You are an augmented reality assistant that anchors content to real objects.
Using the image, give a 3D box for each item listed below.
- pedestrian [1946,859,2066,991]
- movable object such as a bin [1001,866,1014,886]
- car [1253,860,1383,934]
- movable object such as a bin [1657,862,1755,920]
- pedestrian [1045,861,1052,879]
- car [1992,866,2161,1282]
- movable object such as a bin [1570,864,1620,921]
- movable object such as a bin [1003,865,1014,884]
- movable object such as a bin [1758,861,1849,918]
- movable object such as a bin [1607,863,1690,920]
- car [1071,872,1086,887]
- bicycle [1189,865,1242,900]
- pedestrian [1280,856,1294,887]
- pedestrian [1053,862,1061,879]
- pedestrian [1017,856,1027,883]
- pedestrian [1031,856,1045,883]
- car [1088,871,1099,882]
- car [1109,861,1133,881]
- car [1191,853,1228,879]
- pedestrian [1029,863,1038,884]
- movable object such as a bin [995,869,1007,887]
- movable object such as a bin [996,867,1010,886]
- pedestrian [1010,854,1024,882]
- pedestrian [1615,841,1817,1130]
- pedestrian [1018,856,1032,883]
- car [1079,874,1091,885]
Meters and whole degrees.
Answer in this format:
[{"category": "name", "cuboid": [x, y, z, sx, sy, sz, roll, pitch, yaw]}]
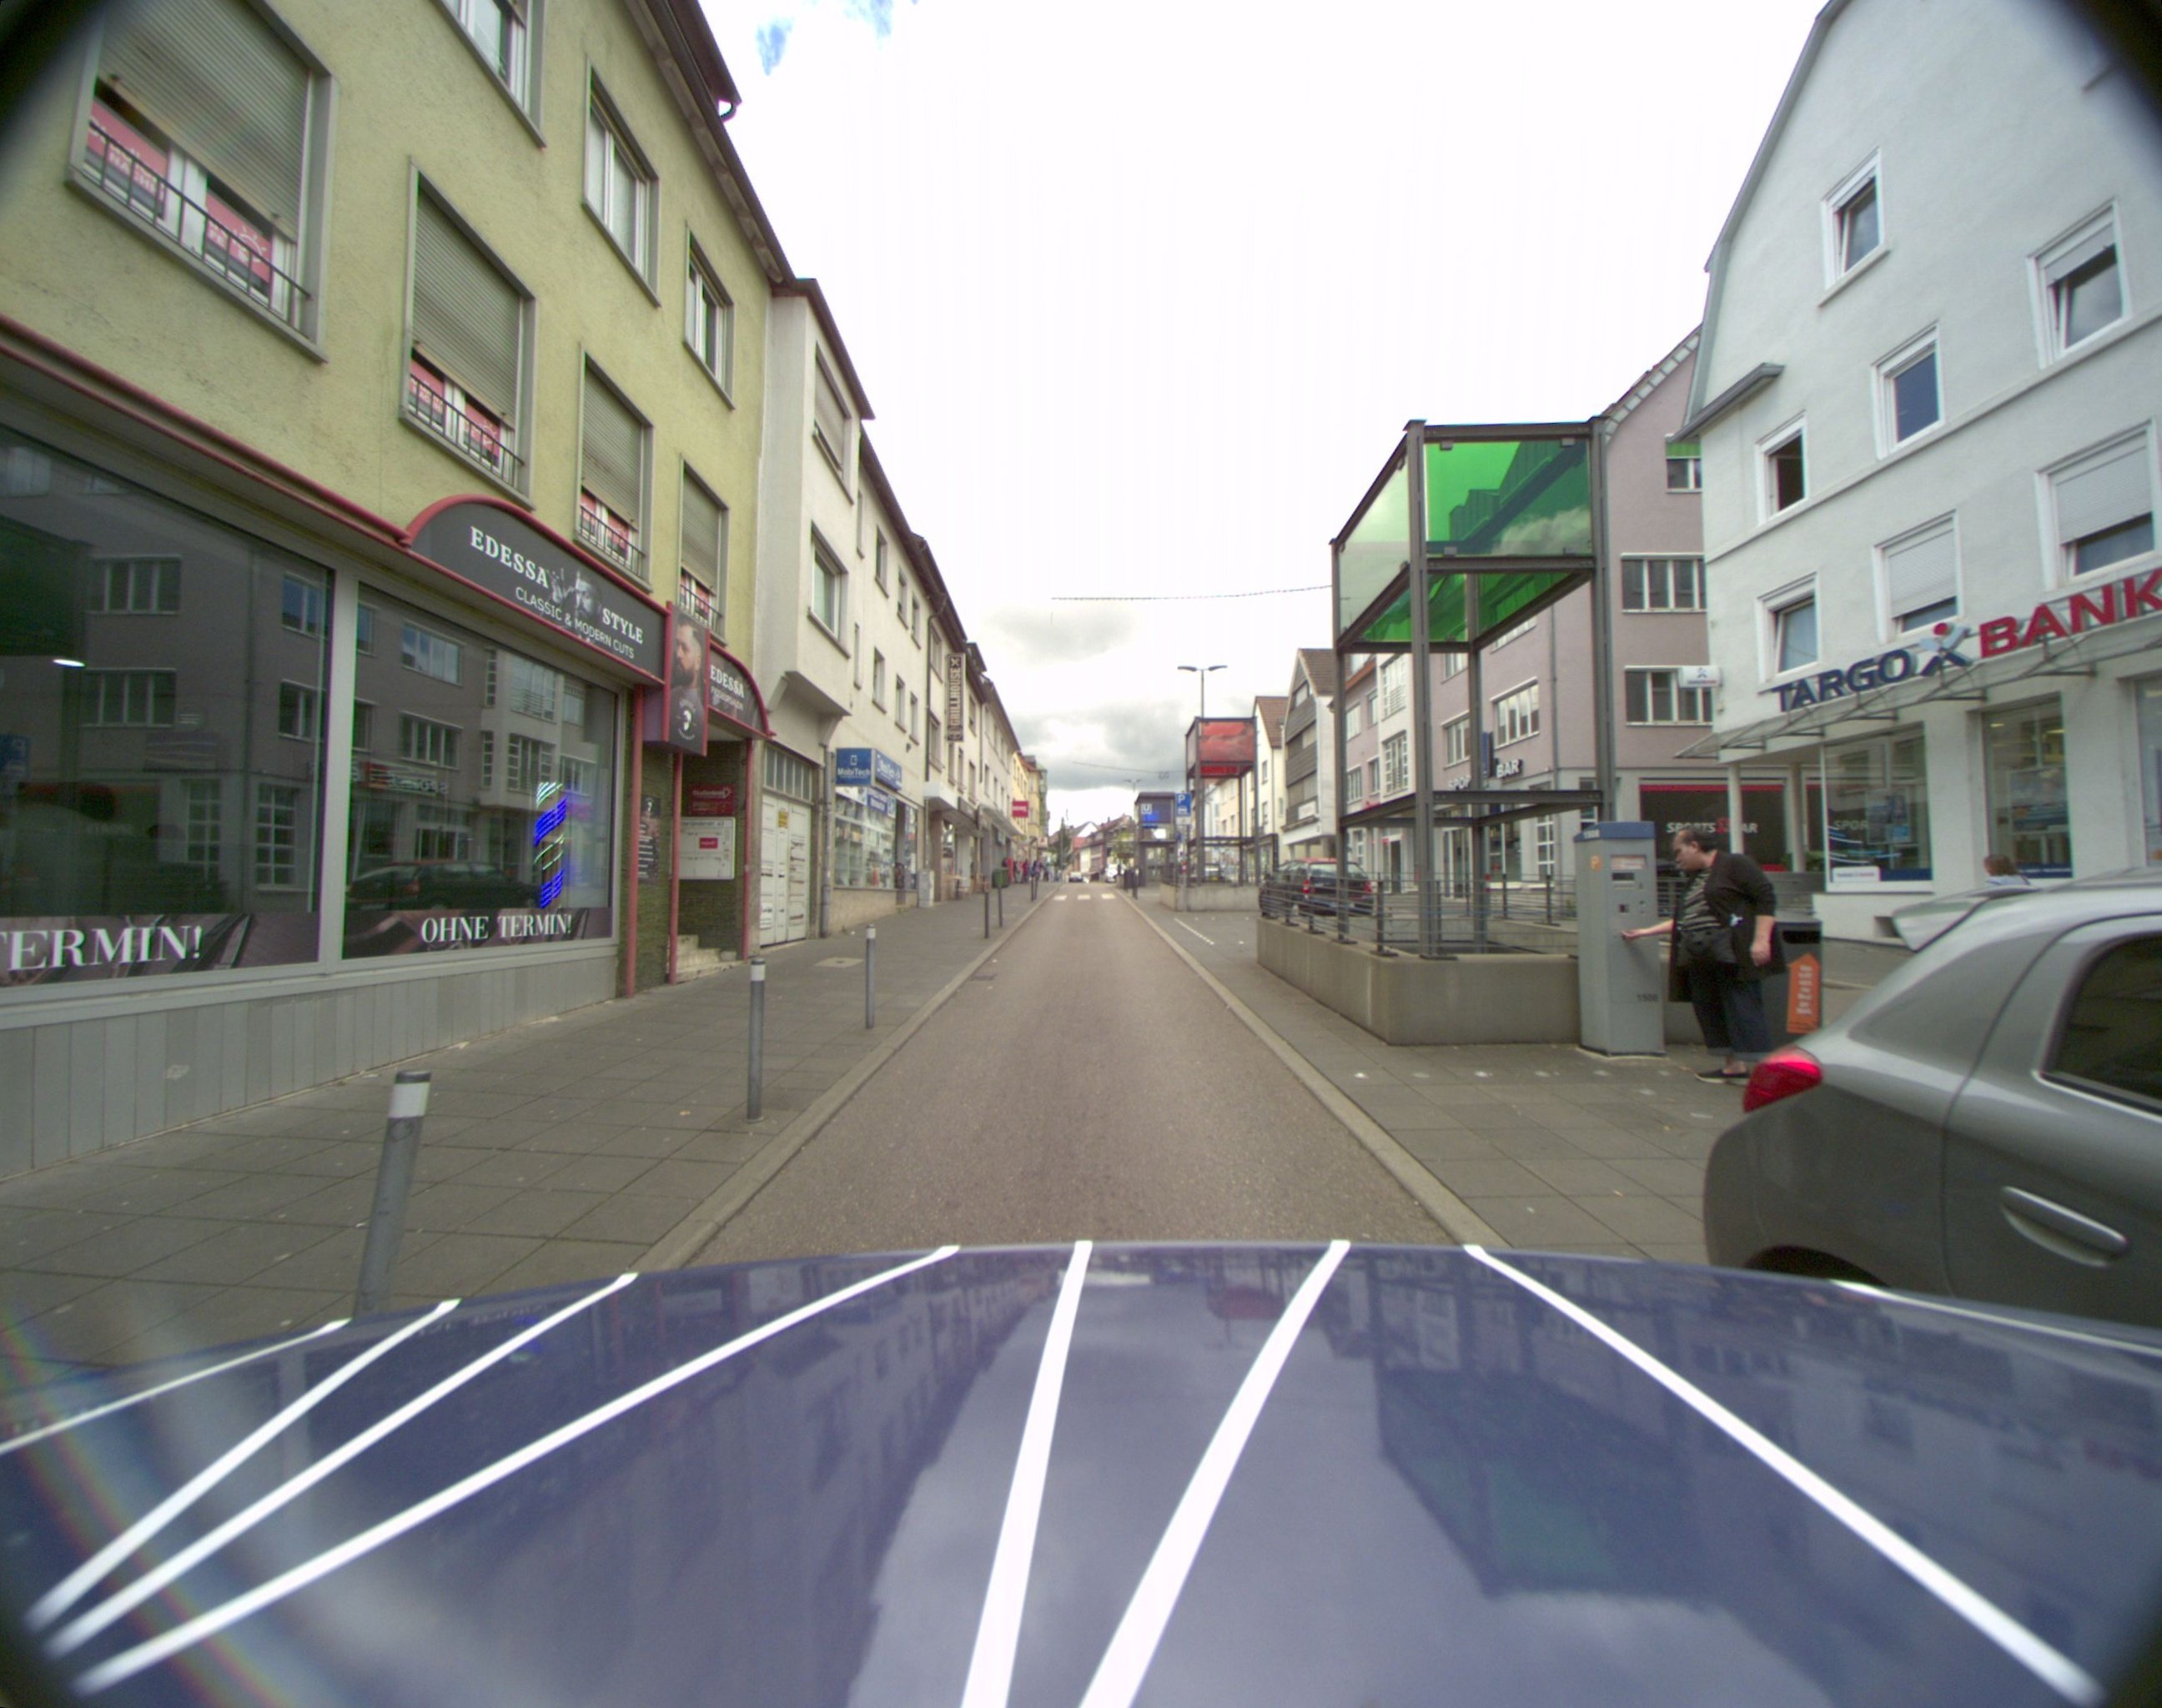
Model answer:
[{"category": "pedestrian", "cuboid": [11.515, 0.858, 9.480, 0.566, 1.564, 0.716, 1, 1, 0]}, {"category": "movable object such as a bin", "cuboid": [-3.968, 1.210, 41.221, 0.652, 1.074, 0.673, 0, 0, 0]}, {"category": "car", "cuboid": [5.232, 0.883, 17.282, 1.573, 1.466, 3.854, 0, 0, -3]}, {"category": "movable object such as a bin", "cuboid": [15.507, 0.901, 18.910, 1.286, 1.368, 1.407, -1, 0, 0]}, {"category": "pedestrian", "cuboid": [-3.147, 1.551, 73.588, 0.657, 1.620, 0.743, -2, 1, -6]}, {"category": "car", "cuboid": [4.905, 0.832, 1.245, 1.743, 1.534, 4.192, 0, 0, -1]}, {"category": "movable object such as a bin", "cuboid": [12.906, 0.955, 19.101, 0.691, 1.368, 0.808, -1, 0, 0]}, {"category": "movable object such as a bin", "cuboid": [-4.044, 1.168, 42.540, 0.569, 1.053, 0.574, 0, 0, 0]}, {"category": "movable object such as a bin", "cuboid": [18.022, 0.861, 18.987, 1.286, 1.368, 1.044, -1, 0, 0]}, {"category": "movable object such as a bin", "cuboid": [14.190, 0.919, 19.048, 1.286, 1.368, 1.067, -1, 0, 0]}, {"category": "car", "cuboid": [-0.330, 3.108, 92.612, 1.741, 1.608, 3.843, -2, 0, 0]}, {"category": "bicycle", "cuboid": [4.723, 0.992, 26.694, 1.782, 1.216, 0.459, 0, 1, 0]}, {"category": "pedestrian", "cuboid": [11.624, 0.978, 42.833, 0.592, 1.706, 0.513, -2, 1, 0]}, {"category": "pedestrian", "cuboid": [-2.364, 1.607, 73.613, 0.657, 1.620, 0.743, -2, 1, -6]}, {"category": "pedestrian", "cuboid": [-3.825, 0.975, 49.210, 0.627, 1.715, 0.607, 2, 0, -5]}, {"category": "pedestrian", "cuboid": [-2.636, 0.950, 46.873, 0.740, 1.660, 0.786, 2, 0, -9]}, {"category": "car", "cuboid": [2.164, 3.941, 133.793, 1.741, 1.608, 3.999, -2, 0, -2]}, {"category": "car", "cuboid": [3.132, 1.312, 59.925, 1.754, 1.452, 3.601, -2, 0, 1]}, {"category": "car", "cuboid": [8.388, 0.780, 49.918, 1.684, 1.562, 4.122, -2, 0, 0]}, {"category": "pedestrian", "cuboid": [-3.916, 1.598, 62.526, 0.627, 1.620, 0.607, -2, 1, -5]}, {"category": "movable object such as a bin", "cuboid": [-4.213, 1.260, 39.886, 0.568, 0.951, 0.498, 0, 0, 0]}, {"category": "movable object such as a bin", "cuboid": [-4.159, 1.191, 40.498, 0.670, 1.024, 0.560, 0, 0, 0]}, {"category": "pedestrian", "cuboid": [-4.063, 0.904, 48.243, 0.759, 1.715, 0.756, 3, 0, -5]}, {"category": "pedestrian", "cuboid": [3.978, 0.767, 4.834, 0.535, 1.662, 0.901, -1, 0, 3]}, {"category": "pedestrian", "cuboid": [-3.430, 0.936, 46.712, 0.740, 1.660, 0.627, 2, 0, -9]}, {"category": "car", "cuboid": [0.572, 4.044, 122.241, 1.741, 1.608, 3.999, -2, 0, -2]}]
